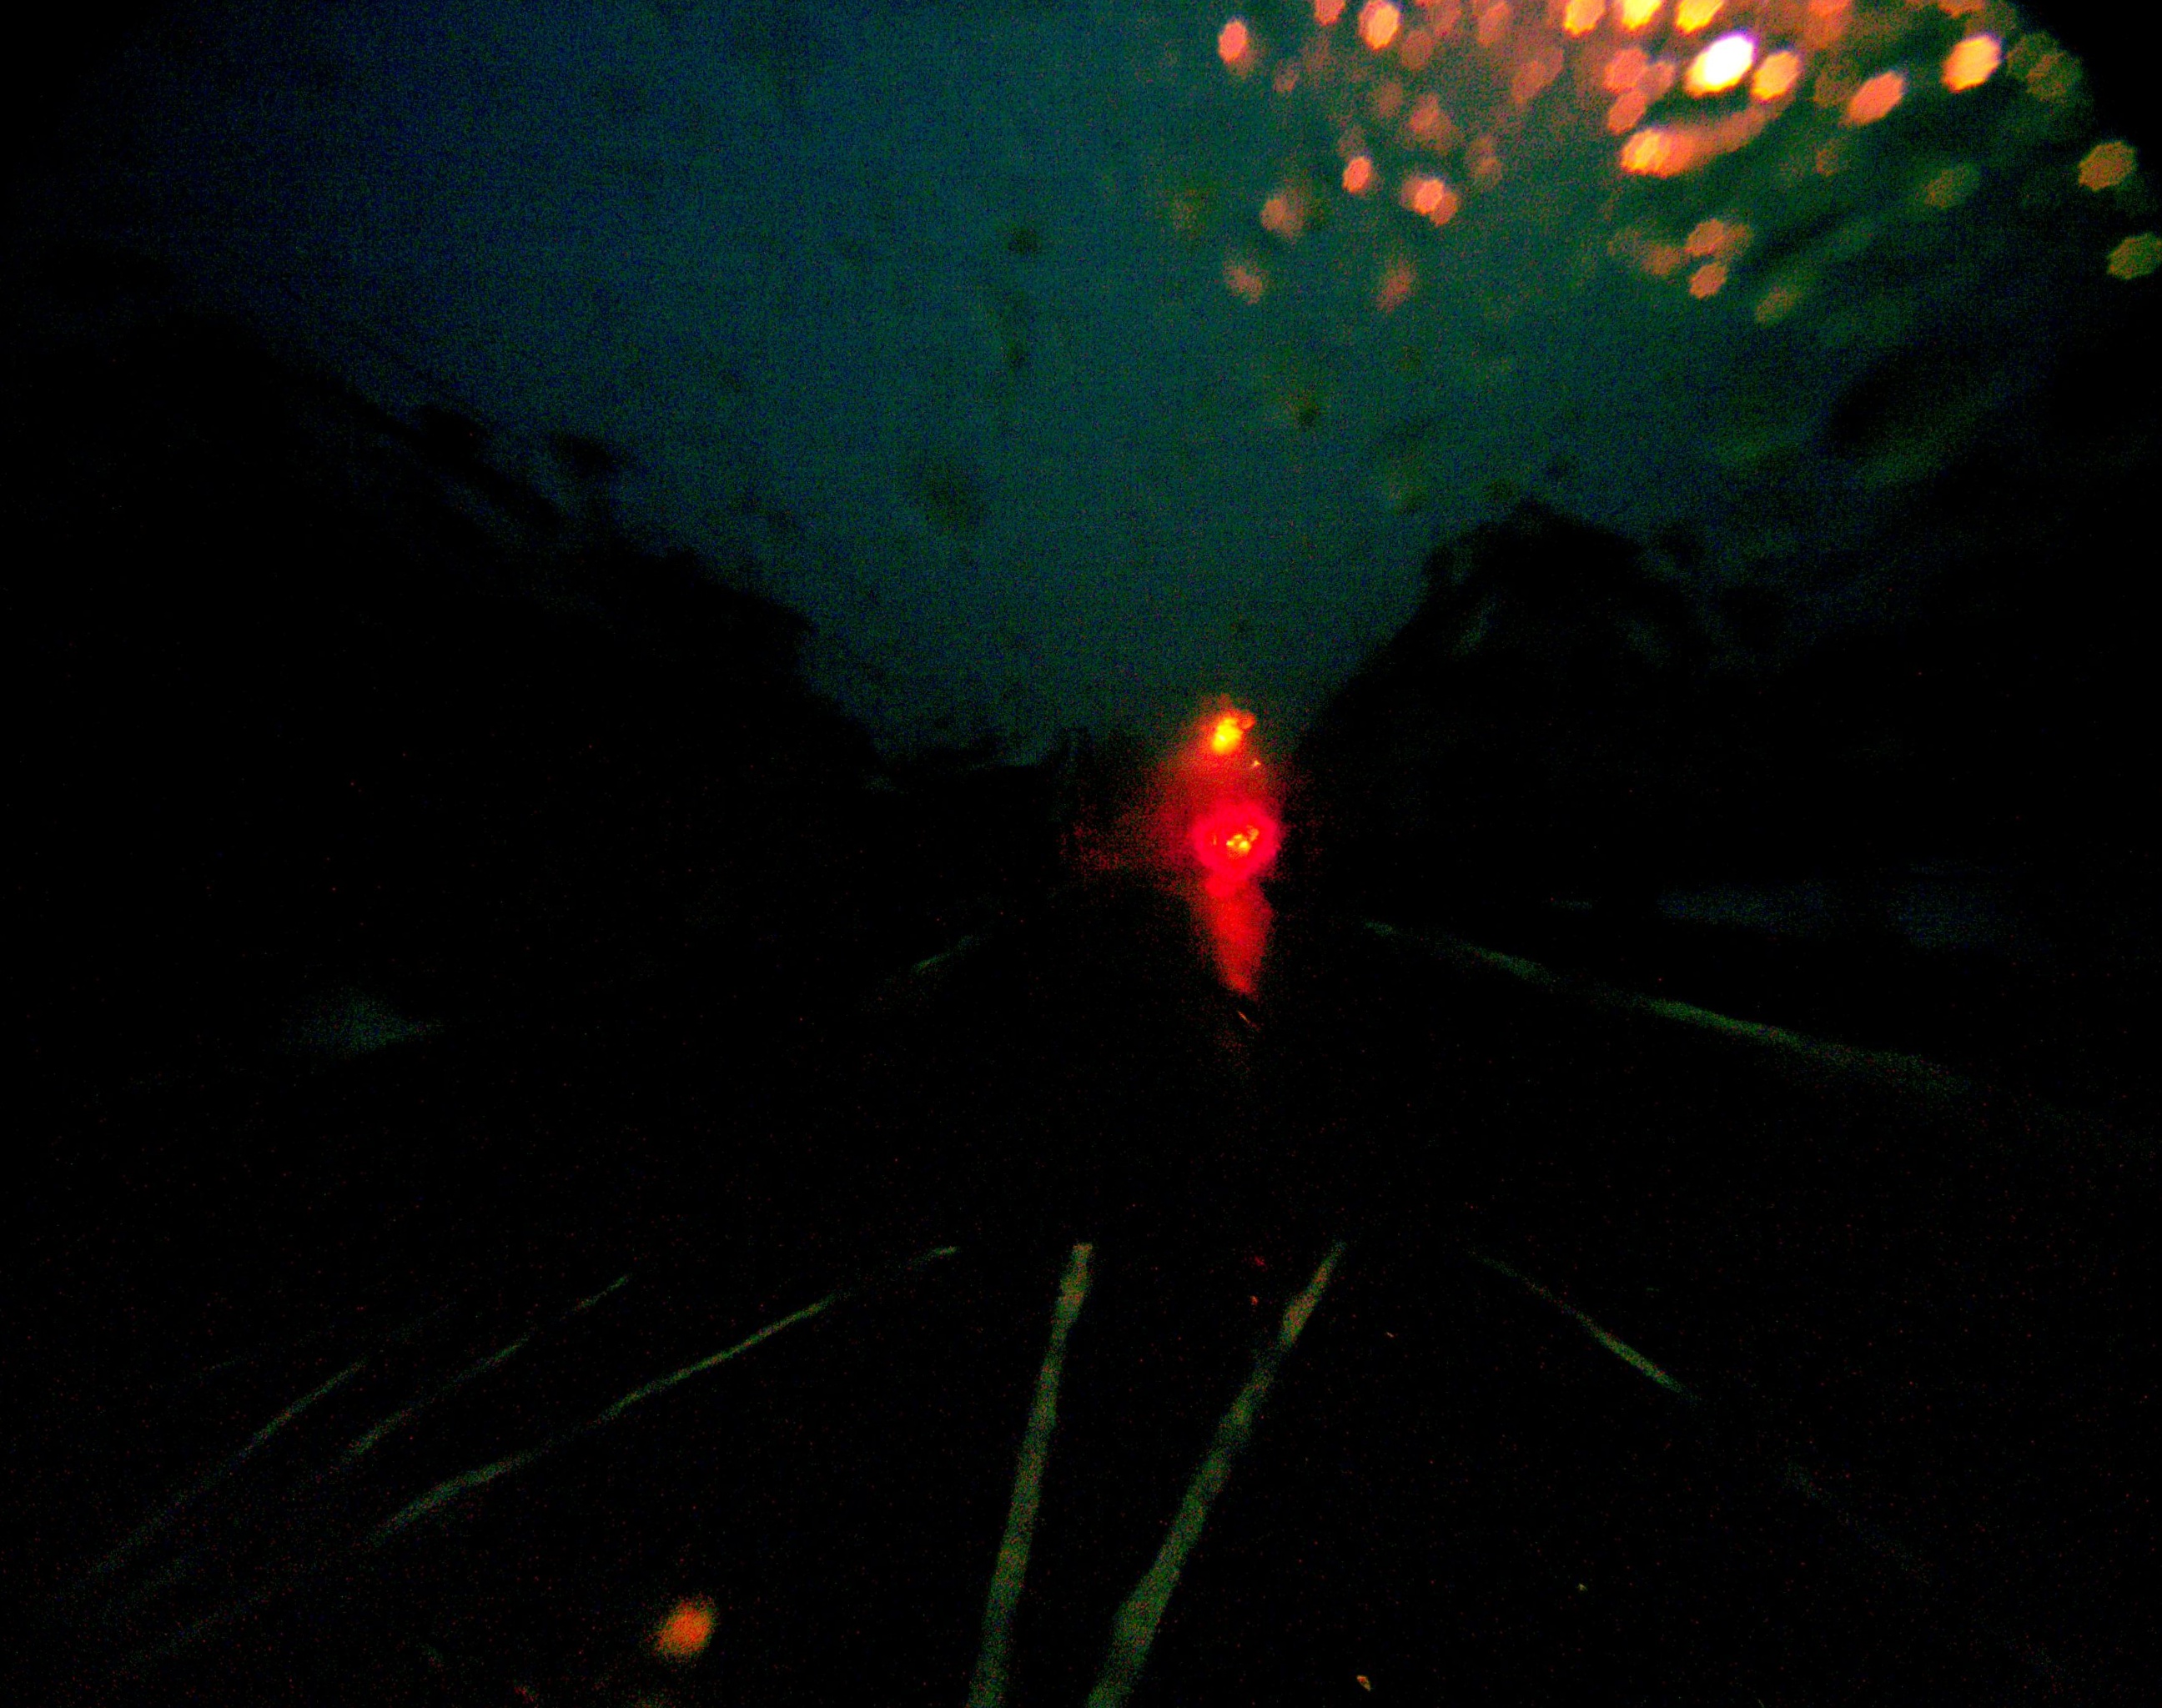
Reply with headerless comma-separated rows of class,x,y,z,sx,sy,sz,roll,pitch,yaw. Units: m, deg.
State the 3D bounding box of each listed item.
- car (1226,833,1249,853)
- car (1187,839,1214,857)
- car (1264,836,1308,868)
car,14.054,-0.963,68.182,1.843,1.677,4.481,-2,1,13
car,11.576,-0.620,73.437,1.913,1.473,4.285,-2,3,18
car,11.090,-0.156,41.325,1.997,1.514,4.193,-4,1,12
